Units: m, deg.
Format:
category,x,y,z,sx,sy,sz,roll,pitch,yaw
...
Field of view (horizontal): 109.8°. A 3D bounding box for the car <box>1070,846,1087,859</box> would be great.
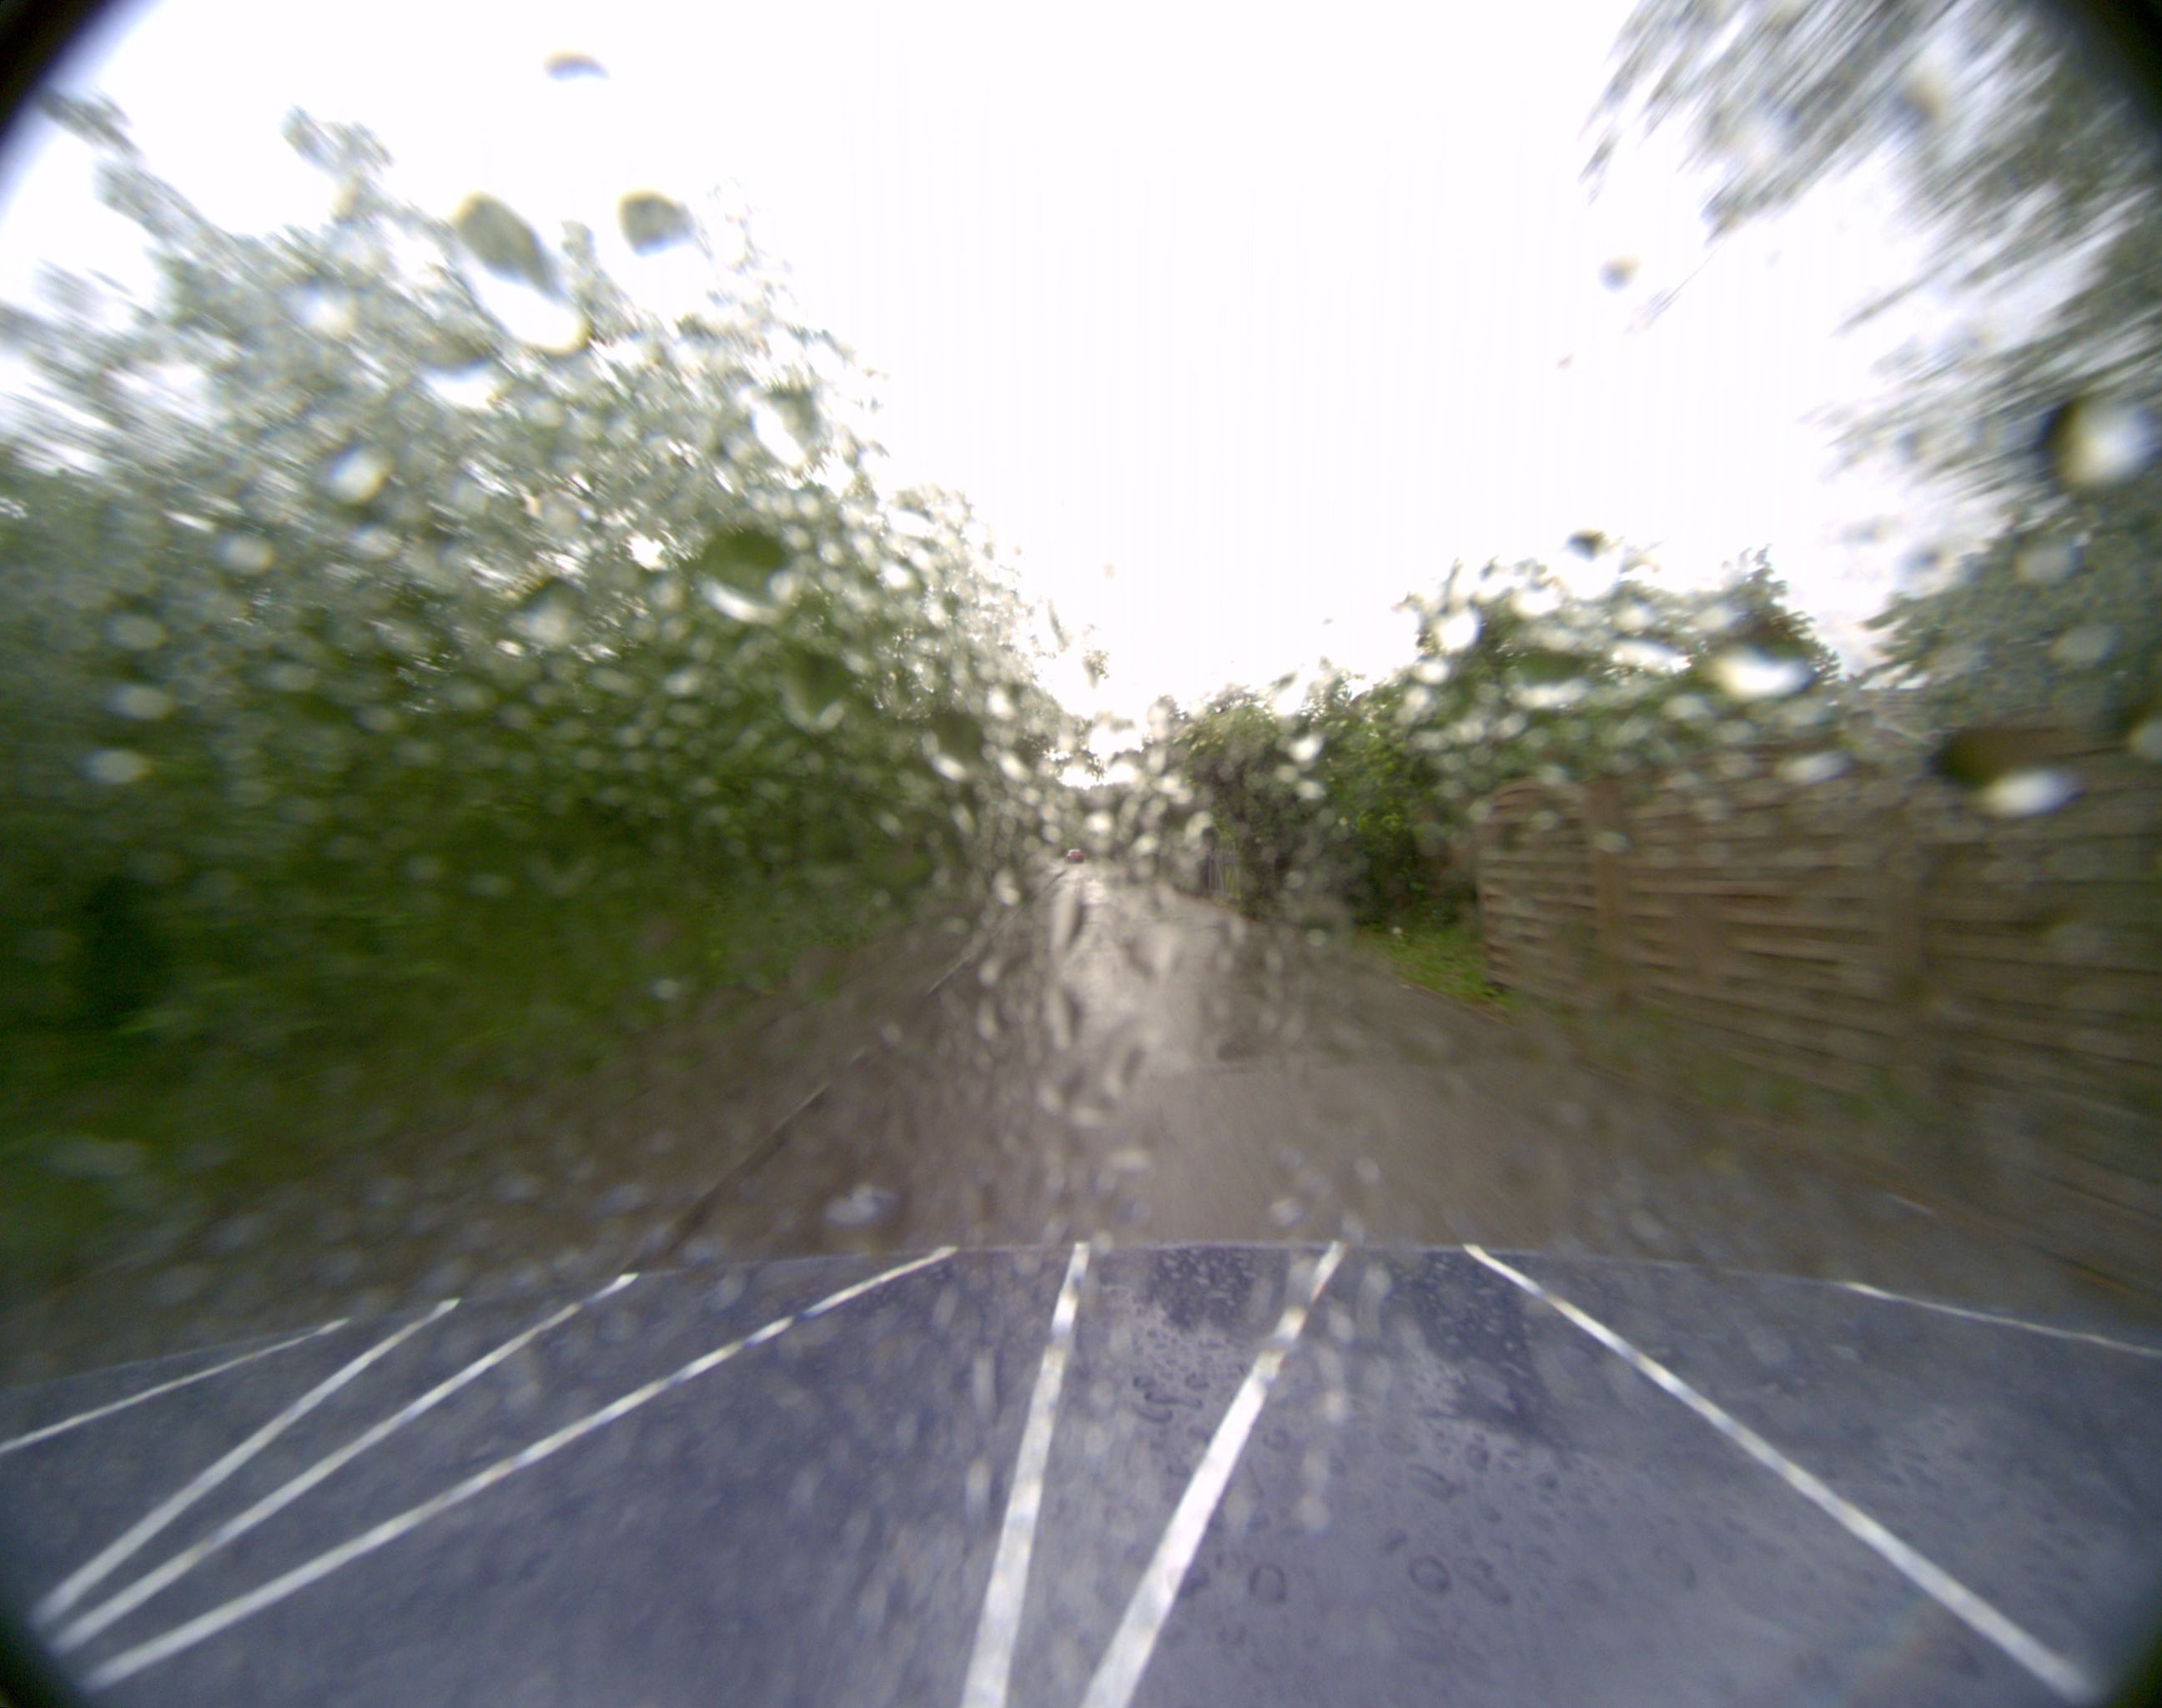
category,x,y,z,sx,sy,sz,roll,pitch,yaw
car,-0.334,-0.165,91.545,1.894,1.514,4.420,-1,1,-2
